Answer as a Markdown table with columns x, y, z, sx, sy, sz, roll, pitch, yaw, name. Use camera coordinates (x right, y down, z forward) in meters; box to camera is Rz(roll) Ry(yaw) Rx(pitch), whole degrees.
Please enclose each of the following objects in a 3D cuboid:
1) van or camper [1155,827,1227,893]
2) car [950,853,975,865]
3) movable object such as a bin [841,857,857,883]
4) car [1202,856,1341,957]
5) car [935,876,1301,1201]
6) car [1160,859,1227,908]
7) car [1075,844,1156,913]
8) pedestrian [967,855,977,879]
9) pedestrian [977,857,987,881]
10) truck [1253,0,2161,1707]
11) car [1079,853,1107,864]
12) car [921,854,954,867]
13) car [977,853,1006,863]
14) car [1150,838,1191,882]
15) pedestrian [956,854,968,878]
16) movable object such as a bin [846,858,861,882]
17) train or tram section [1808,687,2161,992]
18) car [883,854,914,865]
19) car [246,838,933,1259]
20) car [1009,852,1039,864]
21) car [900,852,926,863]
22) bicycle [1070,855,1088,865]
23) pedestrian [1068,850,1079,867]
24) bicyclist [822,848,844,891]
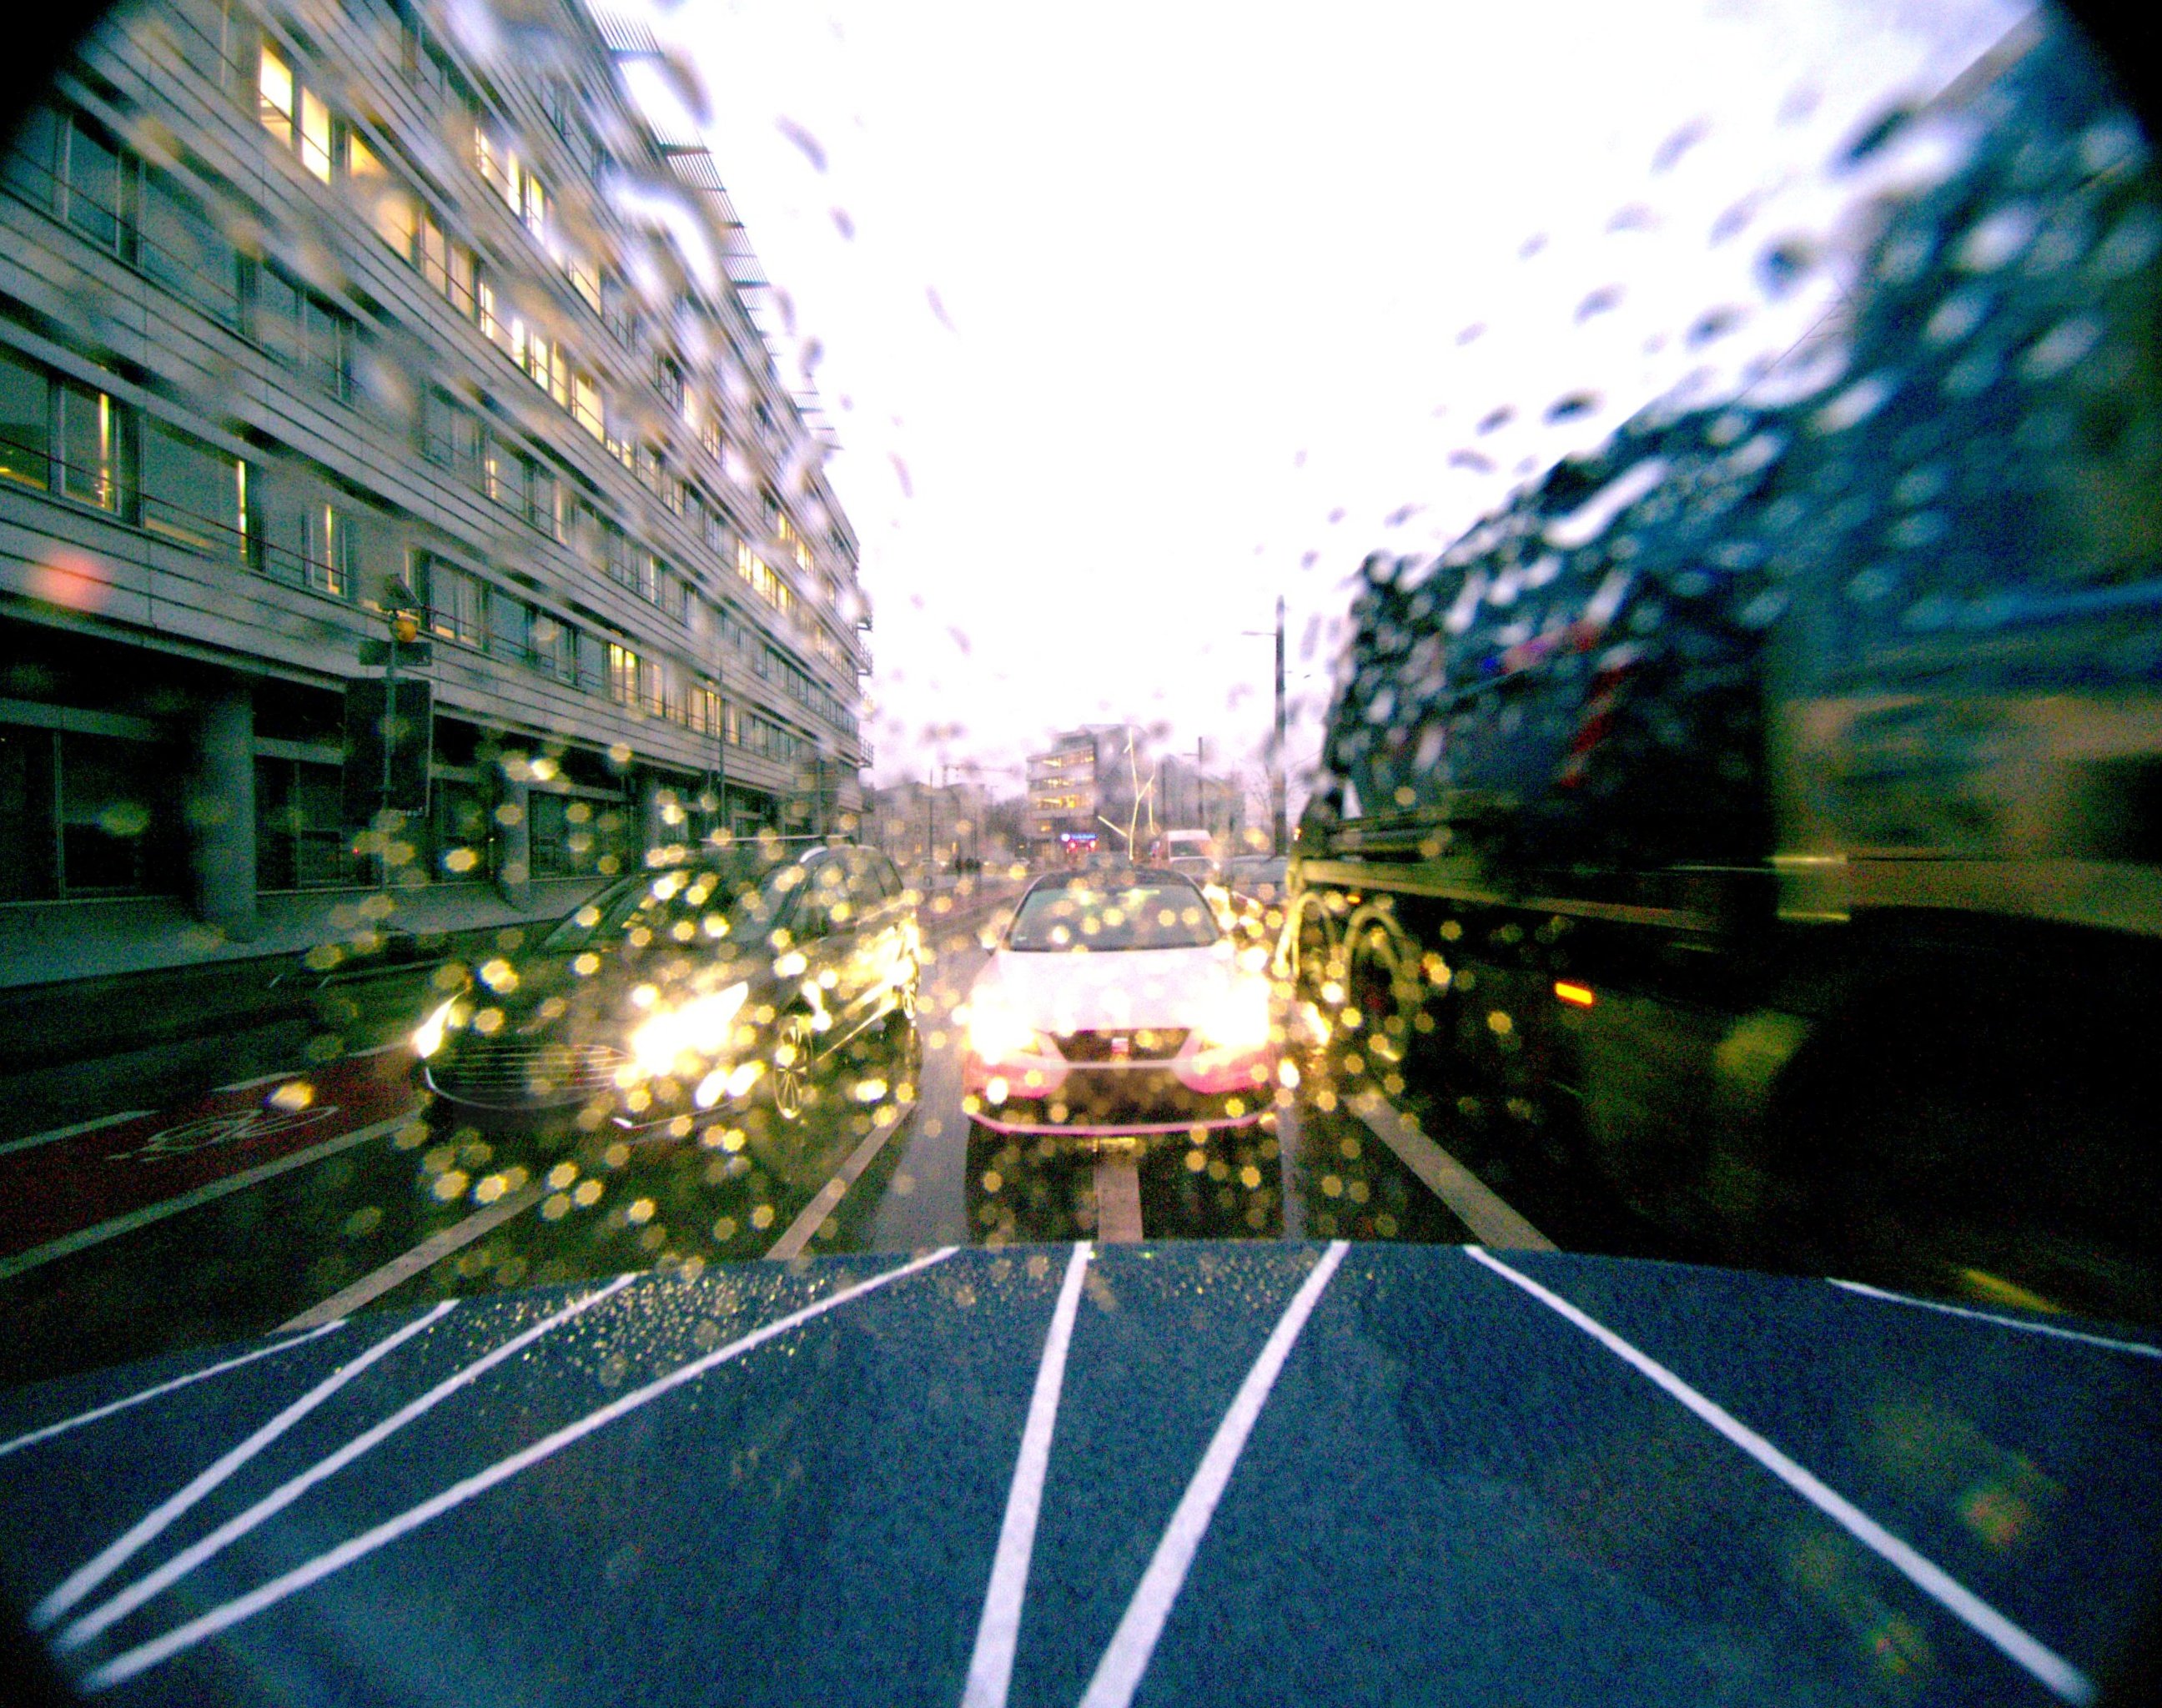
| x | y | z | sx | sy | sz | roll | pitch | yaw | name |
| --- | --- | --- | --- | --- | --- | --- | --- | --- | --- |
| 4.516 | 0.221 | 32.168 | 2.153 | 2.517 | 5.898 | -1 | 0 | 0 | van or camper |
| -19.627 | 0.833 | 126.138 | 3.726 | 1.796 | 1.796 | -1 | 0 | 15 | car |
| -13.262 | 0.914 | 43.406 | 0.666 | 1.420 | 0.840 | -1 | 1 | -2 | movable object such as a bin |
| 3.390 | 0.860 | 14.238 | 1.634 | 1.515 | 3.941 | 0 | 1 | 0 | car |
| 0.210 | 0.967 | 5.712 | 1.782 | 1.464 | 3.943 | -1 | 0 | 1 | car |
| 3.532 | 0.884 | 24.435 | 1.759 | 1.337 | 4.057 | -1 | 1 | 3 | car |
| 0.933 | 0.627 | 22.712 | 2.169 | 1.744 | 4.540 | 0 | 2 | 0 | car |
| -7.799 | 0.914 | 54.434 | 0.651 | 1.692 | 0.884 | 1 | 1 | -3 | pedestrian |
| -7.063 | 1.051 | 54.432 | 0.616 | 1.659 | 0.884 | 1 | 1 | -3 | pedestrian |
| 3.107 | -0.214 | 3.575 | 2.846 | 3.612 | 7.526 | -1 | 0 | 0 | truck |
| 1.916 | 0.690 | 121.459 | 3.991 | 1.782 | 1.884 | -1 | 1 | 18 | car |
| -21.415 | 0.967 | 113.737 | 4.368 | 1.750 | 2.002 | -1 | 1 | 17 | car |
| -13.037 | 0.569 | 110.705 | 3.759 | 1.528 | 1.782 | 0 | 0 | 17 | car |
| 6.141 | 0.392 | 52.805 | 2.129 | 2.847 | 5.813 | -1 | 0 | -1 | car |
| -8.606 | 0.860 | 55.038 | 0.747 | 1.692 | 0.969 | 2 | 1 | -3 | pedestrian |
| -13.258 | 0.928 | 44.303 | 0.666 | 1.420 | 0.840 | -1 | 1 | -2 | movable object such as a bin |
| 14.296 | -0.133 | 3.193 | 2.872 | 3.593 | 20.066 | 0 | 0 | -1 | train or tram section |
| -27.858 | 0.841 | 116.092 | 3.996 | 1.663 | 2.002 | -1 | 1 | 17 | car |
| -2.616 | 0.854 | 5.664 | 1.887 | 1.800 | 4.671 | -2 | 0 | 2 | car |
| -8.152 | 0.541 | 109.513 | 3.918 | 1.699 | 1.782 | -1 | 1 | 15 | car |
| -28.751 | 0.645 | 130.035 | 3.991 | 1.759 | 1.815 | -1 | 0 | 20 | car |
| -0.267 | 0.778 | 94.763 | 2.203 | 1.182 | 0.668 | 0 | 1 | 3 | bicycle |
| -0.874 | 0.496 | 89.622 | 1.118 | 2.002 | 1.034 | 0 | 1 | 15 | pedestrian |
| -10.716 | 0.661 | 32.844 | 0.671 | 1.788 | 0.806 | -1 | 1 | -3 | bicyclist |
